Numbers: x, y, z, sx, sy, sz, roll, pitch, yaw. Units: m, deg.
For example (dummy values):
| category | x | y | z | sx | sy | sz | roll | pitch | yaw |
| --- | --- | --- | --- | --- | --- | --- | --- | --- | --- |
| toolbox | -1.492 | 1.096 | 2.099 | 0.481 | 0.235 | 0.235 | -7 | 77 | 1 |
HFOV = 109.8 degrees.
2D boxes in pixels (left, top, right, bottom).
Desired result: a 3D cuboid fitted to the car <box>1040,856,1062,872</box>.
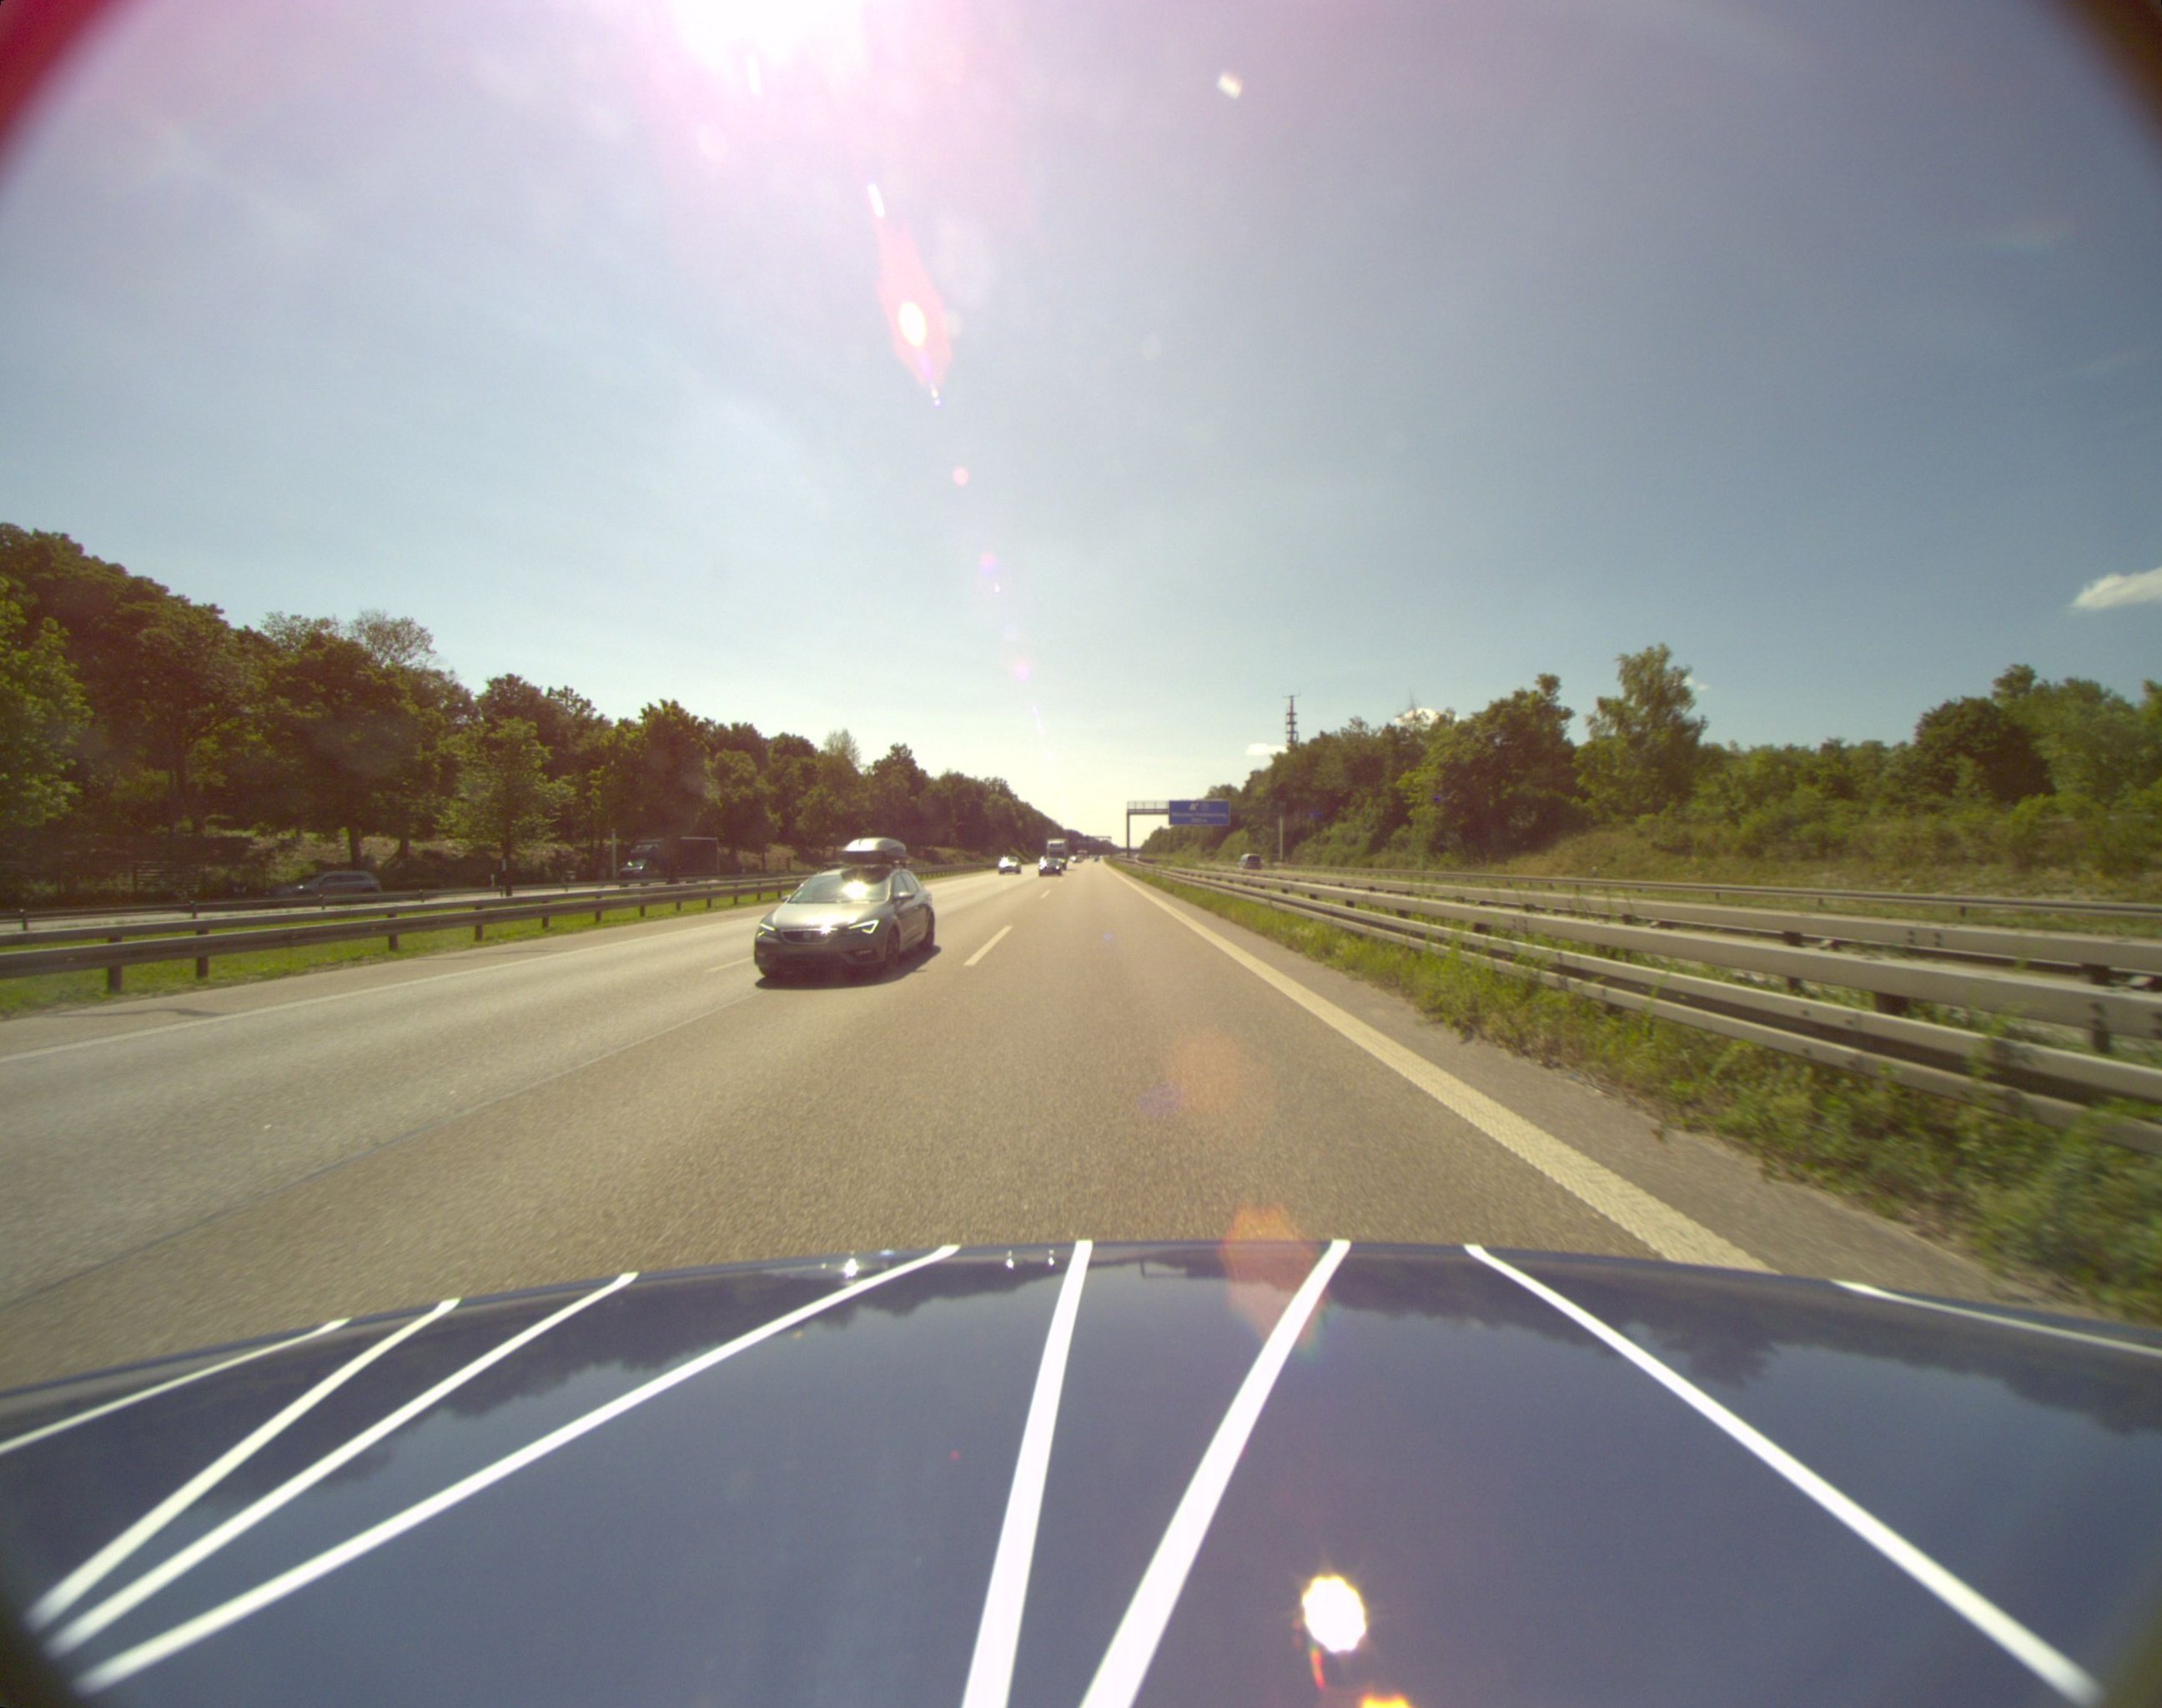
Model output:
| category | x | y | z | sx | sy | sz | roll | pitch | yaw |
| --- | --- | --- | --- | --- | --- | --- | --- | --- | --- |
| car | -2.393 | 0.813 | 61.597 | 1.537 | 1.265 | 2.770 | -1 | 0 | 2 |

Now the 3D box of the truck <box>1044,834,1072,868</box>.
| category | x | y | z | sx | sy | sz | roll | pitch | yaw |
| --- | --- | --- | --- | --- | --- | --- | --- | --- | --- |
| truck | -2.581 | -0.331 | 86.923 | 2.676 | 3.661 | 6.484 | -1 | 0 | 2 |

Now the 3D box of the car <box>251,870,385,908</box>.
| category | x | y | z | sx | sy | sz | roll | pitch | yaw |
| --- | --- | --- | --- | --- | --- | --- | --- | --- | --- |
| car | -37.747 | 1.704 | 37.757 | 1.997 | 1.641 | 4.321 | -1 | 0 | 10 |

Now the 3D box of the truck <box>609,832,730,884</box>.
| category | x | y | z | sx | sy | sz | roll | pitch | yaw |
| --- | --- | --- | --- | --- | --- | --- | --- | --- | --- |
| truck | -33.065 | 0.300 | 61.719 | 3.290 | 3.924 | 9.358 | -1 | 0 | 12 |

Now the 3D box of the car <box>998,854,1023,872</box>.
| category | x | y | z | sx | sy | sz | roll | pitch | yaw |
| --- | --- | --- | --- | --- | --- | --- | --- | --- | --- |
| car | -6.693 | 0.834 | 72.610 | 1.847 | 1.559 | 4.036 | -2 | 0 | 2 |

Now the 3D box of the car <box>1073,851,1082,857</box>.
| category | x | y | z | sx | sy | sz | roll | pitch | yaw |
| --- | --- | --- | --- | --- | --- | --- | --- | --- | --- |
| car | -0.689 | 0.003 | 165.989 | 1.831 | 1.346 | 3.679 | 0 | 0 | 2 |

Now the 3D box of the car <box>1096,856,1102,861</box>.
| category | x | y | z | sx | sy | sz | roll | pitch | yaw |
| --- | --- | --- | --- | --- | --- | --- | --- | --- | --- |
| car | 4.357 | 1.133 | 182.988 | 1.591 | 1.291 | 3.383 | 0 | 0 | 2 |

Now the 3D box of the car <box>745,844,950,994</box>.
| category | x | y | z | sx | sy | sz | roll | pitch | yaw |
| --- | --- | --- | --- | --- | --- | --- | --- | --- | --- |
| car | -3.325 | 0.805 | 11.896 | 1.669 | 1.865 | 4.827 | 0 | 0 | 0 |

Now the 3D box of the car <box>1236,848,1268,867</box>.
| category | x | y | z | sx | sy | sz | roll | pitch | yaw |
| --- | --- | --- | --- | --- | --- | --- | --- | --- | --- |
| car | 17.829 | 0.312 | 79.600 | 1.999 | 1.824 | 5.332 | 1 | 1 | -1 |
